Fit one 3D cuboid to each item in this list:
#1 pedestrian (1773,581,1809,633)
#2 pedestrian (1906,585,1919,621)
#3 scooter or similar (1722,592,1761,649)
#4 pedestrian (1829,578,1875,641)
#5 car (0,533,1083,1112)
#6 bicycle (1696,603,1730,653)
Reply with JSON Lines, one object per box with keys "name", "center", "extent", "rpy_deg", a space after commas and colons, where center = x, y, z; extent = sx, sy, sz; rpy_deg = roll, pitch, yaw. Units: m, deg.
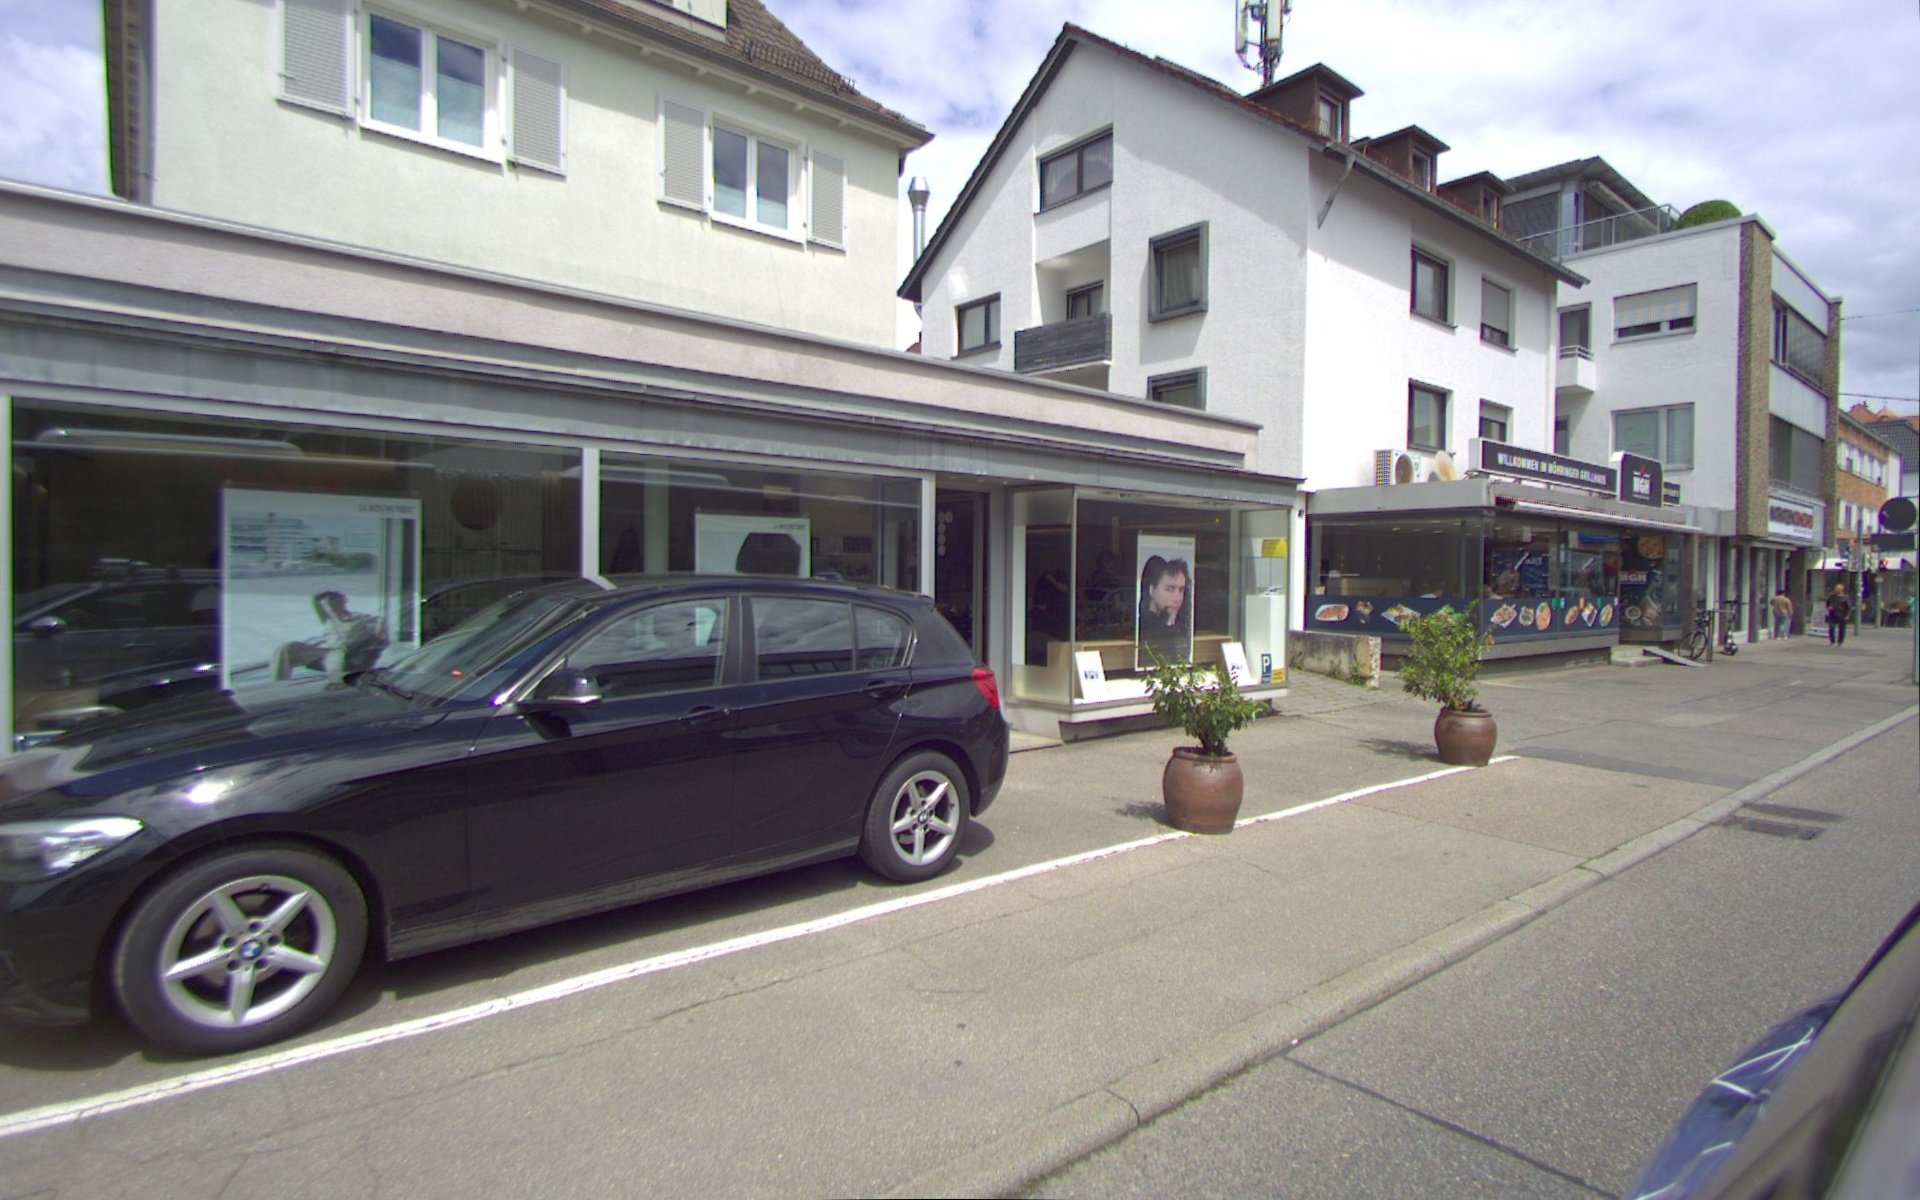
{"name": "pedestrian", "center": [24.977, 0.208, 30.424], "extent": [0.707, 1.517, 0.681], "rpy_deg": [0, 1, -40]}
{"name": "pedestrian", "center": [40.926, 0.133, 43.094], "extent": [0.804, 1.544, 0.779], "rpy_deg": [0, 2, -38]}
{"name": "scooter or similar", "center": [18.550, 0.458, 24.027], "extent": [0.686, 1.283, 1.169], "rpy_deg": [2, 2, 38]}
{"name": "pedestrian", "center": [24.554, 0.242, 27.855], "extent": [0.793, 1.691, 0.796], "rpy_deg": [0, 2, -41]}
{"name": "car", "center": [-1.669, 0.520, 4.564], "extent": [4.458, 1.465, 1.971], "rpy_deg": [0, 2, -42]}
{"name": "bicycle", "center": [16.561, 0.598, 22.245], "extent": [0.474, 1.040, 1.612], "rpy_deg": [2, 2, 40]}
